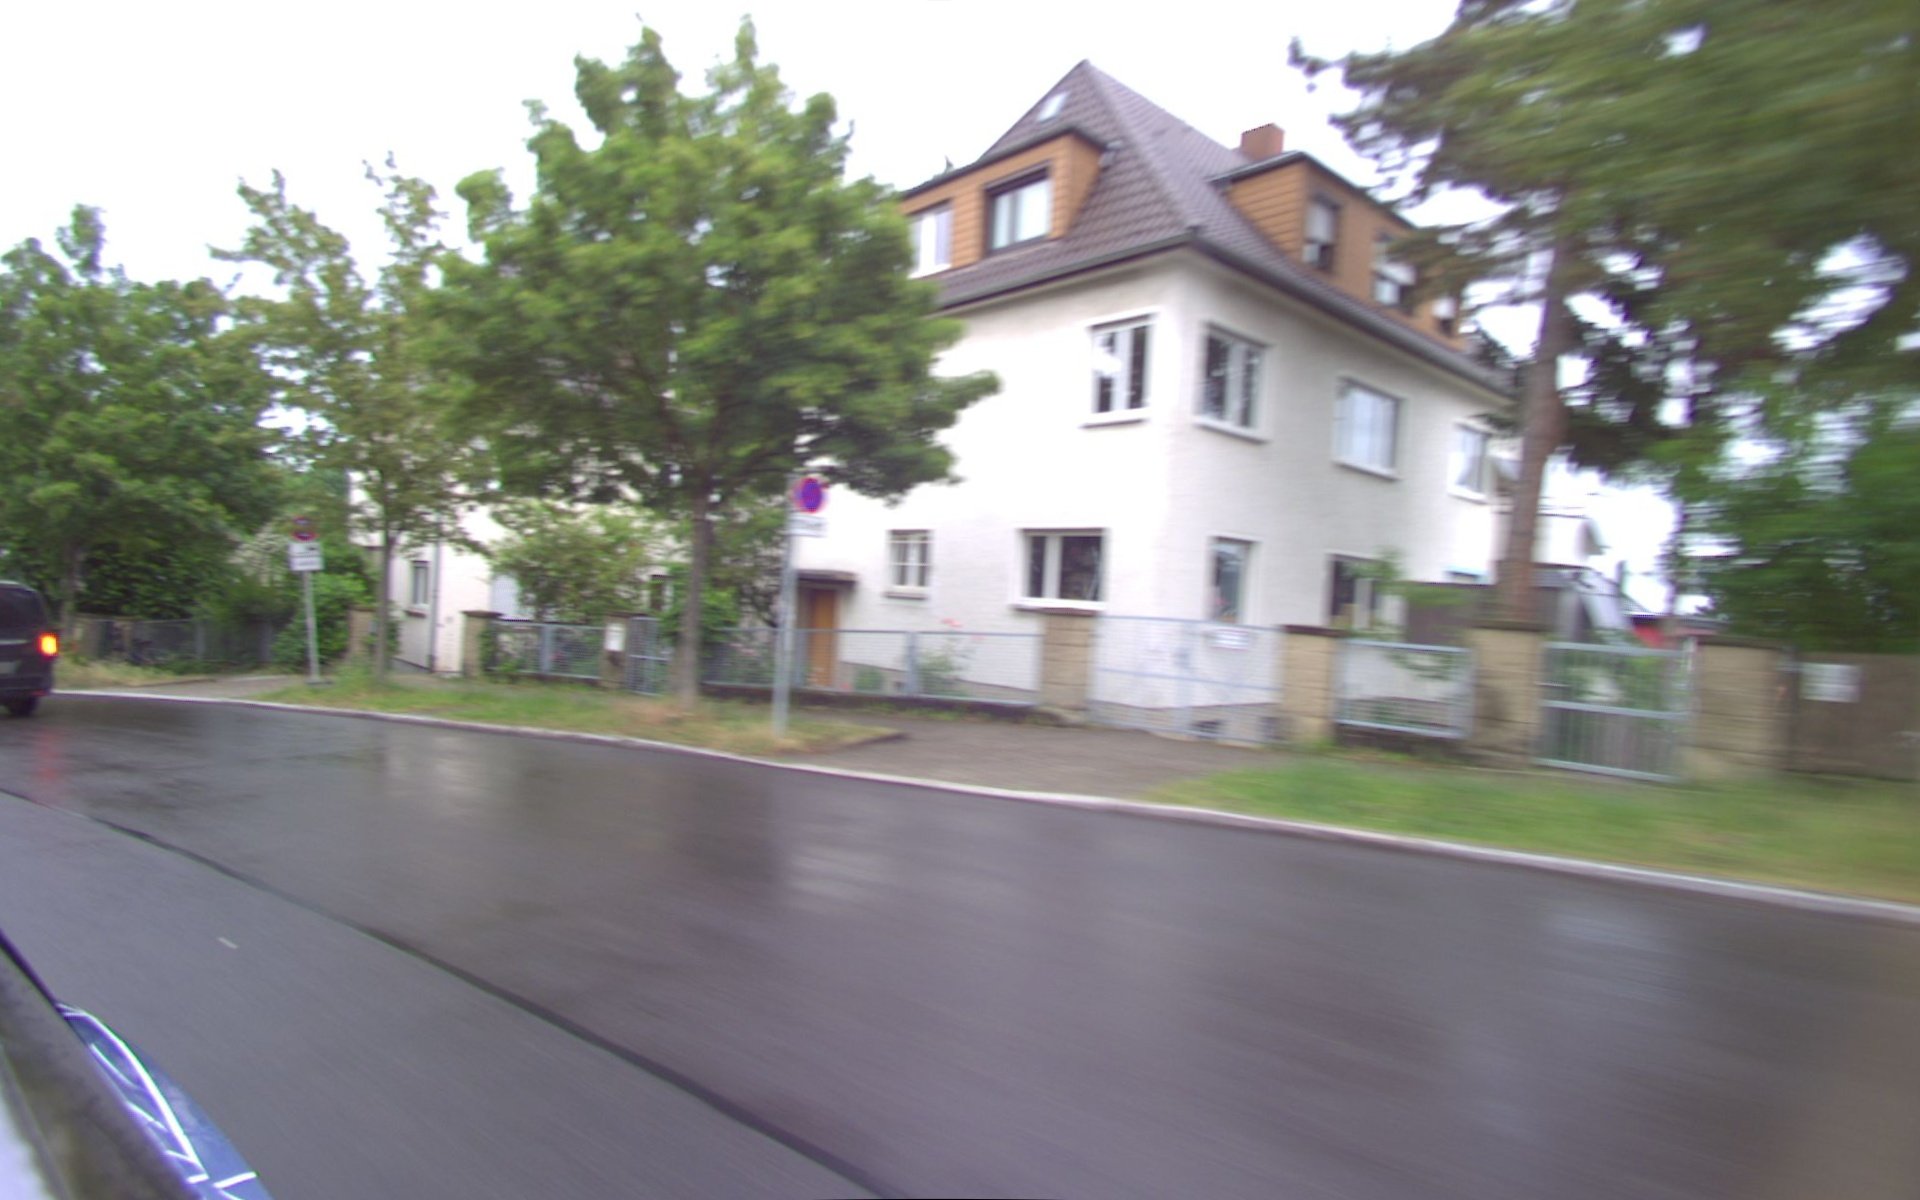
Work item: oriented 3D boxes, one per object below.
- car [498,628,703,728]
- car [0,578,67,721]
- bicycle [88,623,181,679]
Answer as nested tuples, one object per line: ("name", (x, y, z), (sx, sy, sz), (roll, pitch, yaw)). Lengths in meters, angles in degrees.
("car", (-8.404, 1.859, 23.817), (3.940, 1.595, 1.858), (16, -11, -38))
("car", (-15.150, 0.665, 14.409), (5.128, 1.904, 1.885), (0, -3, 28))
("bicycle", (-19.883, 1.234, 24.371), (2.251, 1.281, 0.490), (-1, 0, 14))
